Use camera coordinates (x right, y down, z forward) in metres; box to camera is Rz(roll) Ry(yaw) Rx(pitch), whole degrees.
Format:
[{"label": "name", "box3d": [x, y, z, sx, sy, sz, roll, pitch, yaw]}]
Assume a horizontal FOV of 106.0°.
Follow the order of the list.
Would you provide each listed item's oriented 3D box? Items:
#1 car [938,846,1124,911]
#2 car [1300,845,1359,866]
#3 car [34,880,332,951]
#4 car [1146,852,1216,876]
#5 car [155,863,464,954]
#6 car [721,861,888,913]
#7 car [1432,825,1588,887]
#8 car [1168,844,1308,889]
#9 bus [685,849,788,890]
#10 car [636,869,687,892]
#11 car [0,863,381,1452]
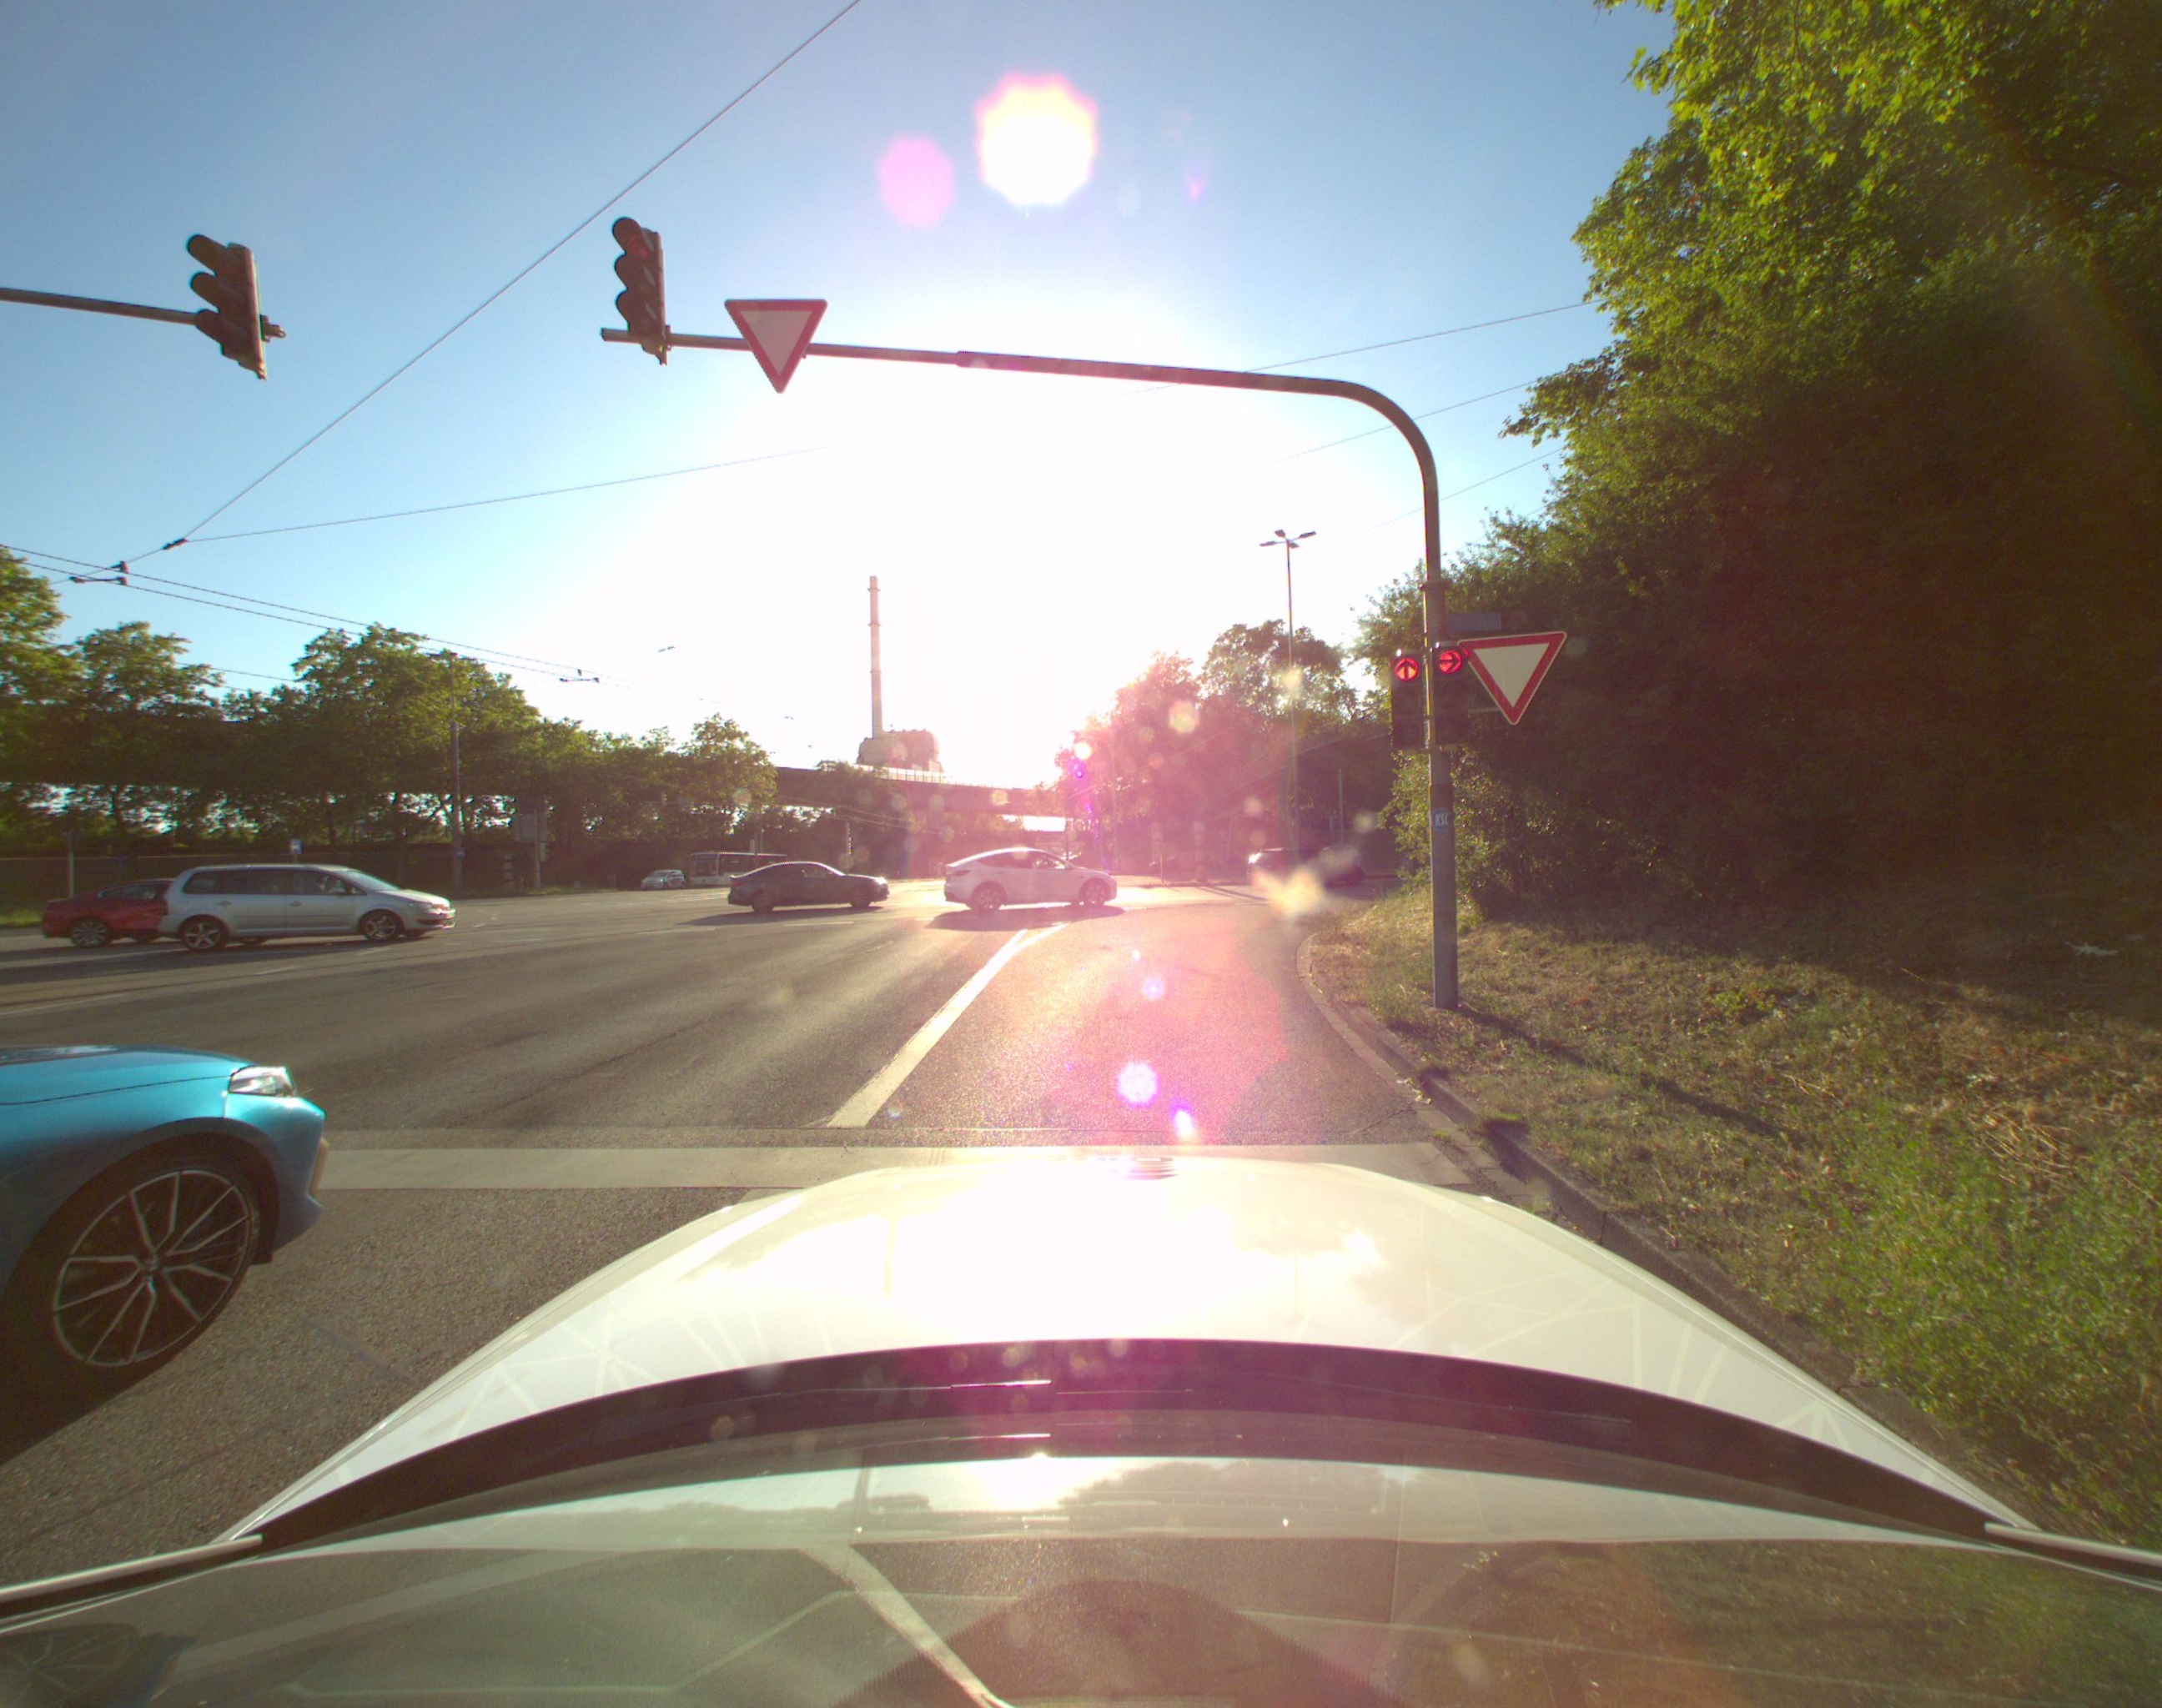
[{"label": "car", "box3d": [-1.350, 0.619, 22.012, 4.767, 1.575, 1.682, -1, 0, -20]}, {"label": "car", "box3d": [18.736, 0.105, 61.316, 4.005, 1.512, 1.684, -1, 0, -17]}, {"label": "car", "box3d": [-20.349, 1.341, 18.713, 4.290, 1.364, 1.612, -1, 0, -22]}, {"label": "car", "box3d": [7.005, 0.667, 57.075, 4.585, 1.575, 1.685, -1, 0, -16]}, {"label": "car", "box3d": [-15.698, 1.041, 16.881, 4.288, 1.631, 1.682, -1, 0, -21]}, {"label": "car", "box3d": [-8.054, 0.913, 23.953, 4.490, 1.369, 1.683, -1, 0, -19]}, {"label": "car", "box3d": [14.915, 0.055, 28.344, 4.945, 1.991, 2.023, -1, 0, -20]}, {"label": "car", "box3d": [5.547, 0.411, 28.791, 4.624, 1.459, 1.683, -1, 0, -19]}, {"label": "bus", "box3d": [-29.489, 1.369, 70.652, 2.532, 3.130, 12.931, -2, -2, 4]}, {"label": "car", "box3d": [-30.134, 1.871, 58.619, 1.601, 1.512, 4.007, -1, 0, 0]}, {"label": "car", "box3d": [-3.566, 0.795, 1.047, 1.709, 1.466, 4.205, -2, 0, -1]}]
